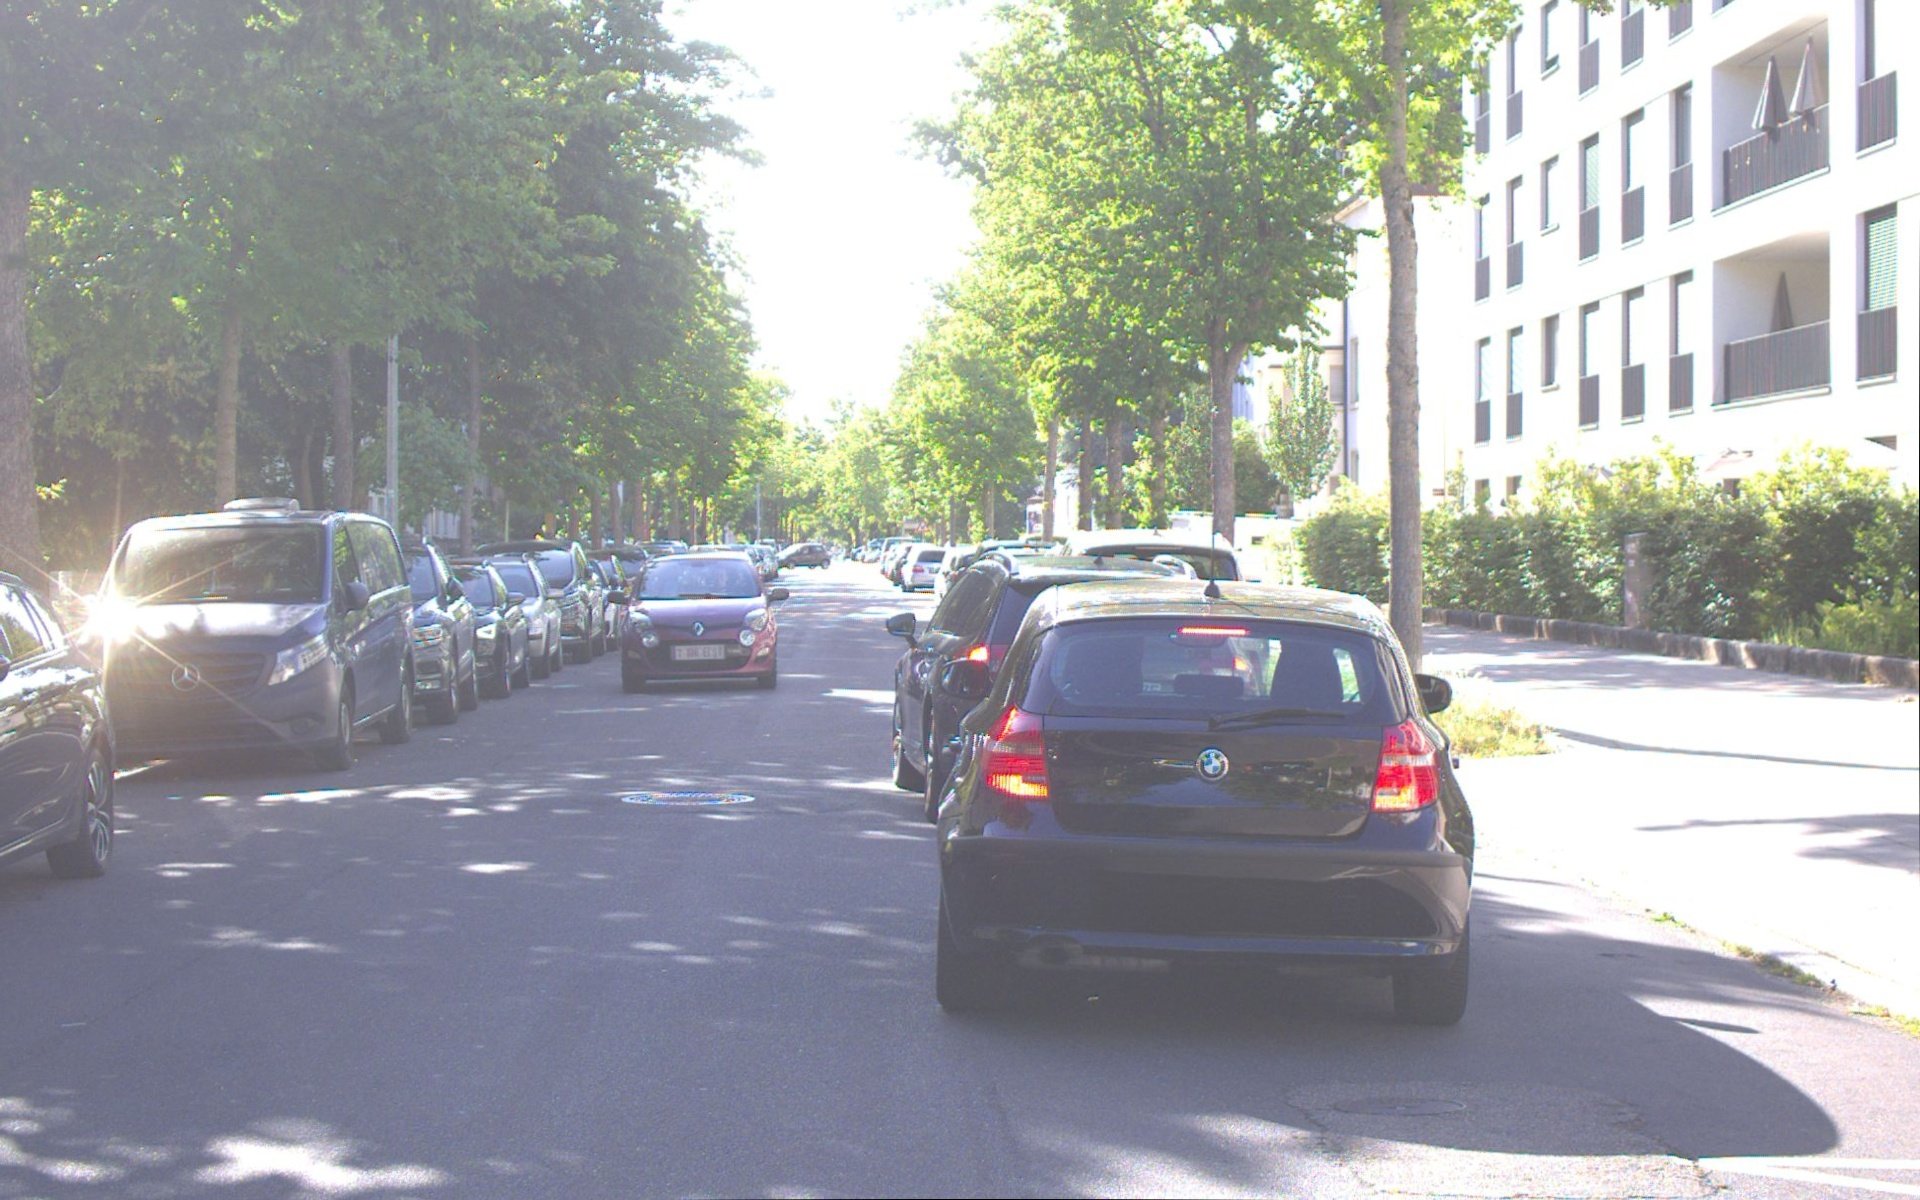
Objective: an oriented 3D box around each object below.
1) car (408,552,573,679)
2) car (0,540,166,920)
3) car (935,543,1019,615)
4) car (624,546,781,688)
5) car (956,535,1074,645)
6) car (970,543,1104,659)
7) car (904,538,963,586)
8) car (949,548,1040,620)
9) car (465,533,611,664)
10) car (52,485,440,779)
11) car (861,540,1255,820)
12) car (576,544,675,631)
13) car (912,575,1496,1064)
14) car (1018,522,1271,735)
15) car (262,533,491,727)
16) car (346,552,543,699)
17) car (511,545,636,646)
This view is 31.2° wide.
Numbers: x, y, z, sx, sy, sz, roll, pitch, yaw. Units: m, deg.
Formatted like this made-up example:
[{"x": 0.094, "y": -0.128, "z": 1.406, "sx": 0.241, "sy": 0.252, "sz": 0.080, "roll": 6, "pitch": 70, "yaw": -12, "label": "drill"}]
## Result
[{"x": -5.630, "y": 0.154, "z": 41.568, "sx": 1.612, "sy": 1.422, "sz": 3.726, "roll": -1, "pitch": 1, "yaw": -2, "label": "car"}, {"x": -4.729, "y": 0.545, "z": 15.041, "sx": 1.507, "sy": 1.543, "sz": 4.779, "roll": -3, "pitch": 1, "yaw": -2, "label": "car"}, {"x": 0.350, "y": -0.475, "z": 74.817, "sx": 1.721, "sy": 1.475, "sz": 3.851, "roll": 2, "pitch": 1, "yaw": -1, "label": "car"}, {"x": -2.719, "y": 0.149, "z": 36.818, "sx": 1.505, "sy": 1.421, "sz": 3.178, "roll": -1, "pitch": 1, "yaw": -1, "label": "car"}, {"x": 0.846, "y": -0.186, "z": 54.917, "sx": 1.721, "sy": 1.635, "sz": 3.851, "roll": 2, "pitch": 1, "yaw": -1, "label": "car"}, {"x": 1.061, "y": -0.026, "z": 48.913, "sx": 1.721, "sy": 1.523, "sz": 4.000, "roll": 2, "pitch": 1, "yaw": -1, "label": "car"}, {"x": -0.833, "y": -1.218, "z": 110.091, "sx": 1.721, "sy": 1.475, "sz": 3.851, "roll": -1, "pitch": 1, "yaw": 1, "label": "car"}, {"x": 0.678, "y": -0.345, "z": 70.037, "sx": 1.721, "sy": 1.374, "sz": 3.851, "roll": 2, "pitch": 1, "yaw": -1, "label": "car"}, {"x": -5.720, "y": -0.053, "z": 47.007, "sx": 1.612, "sy": 1.673, "sz": 4.235, "roll": -1, "pitch": 1, "yaw": -2, "label": "car"}, {"x": -5.118, "y": 0.169, "z": 25.355, "sx": 1.826, "sy": 1.898, "sz": 5.142, "roll": -2, "pitch": 1, "yaw": -1, "label": "car"}, {"x": 0.459, "y": 0.377, "z": 19.849, "sx": 1.649, "sy": 1.420, "sz": 4.002, "roll": -1, "pitch": 1, "yaw": -7, "label": "car"}, {"x": -6.219, "y": -0.263, "z": 64.227, "sx": 1.612, "sy": 1.538, "sz": 3.866, "roll": -1, "pitch": 1, "yaw": -2, "label": "car"}, {"x": 0.710, "y": 0.643, "z": 11.982, "sx": 1.649, "sy": 1.392, "sz": 3.412, "roll": -1, "pitch": 1, "yaw": -2, "label": "car"}, {"x": 1.461, "y": 0.201, "z": 28.786, "sx": 1.848, "sy": 1.625, "sz": 4.410, "roll": 1, "pitch": 0, "yaw": 0, "label": "car"}, {"x": -5.217, "y": 0.217, "z": 31.171, "sx": 1.612, "sy": 1.606, "sz": 4.230, "roll": -1, "pitch": 1, "yaw": -4, "label": "car"}, {"x": -5.411, "y": 0.222, "z": 36.478, "sx": 1.612, "sy": 1.422, "sz": 4.058, "roll": -1, "pitch": 1, "yaw": -2, "label": "car"}, {"x": -5.891, "y": -0.104, "z": 52.708, "sx": 1.612, "sy": 1.447, "sz": 3.866, "roll": -1, "pitch": 1, "yaw": -2, "label": "car"}]
